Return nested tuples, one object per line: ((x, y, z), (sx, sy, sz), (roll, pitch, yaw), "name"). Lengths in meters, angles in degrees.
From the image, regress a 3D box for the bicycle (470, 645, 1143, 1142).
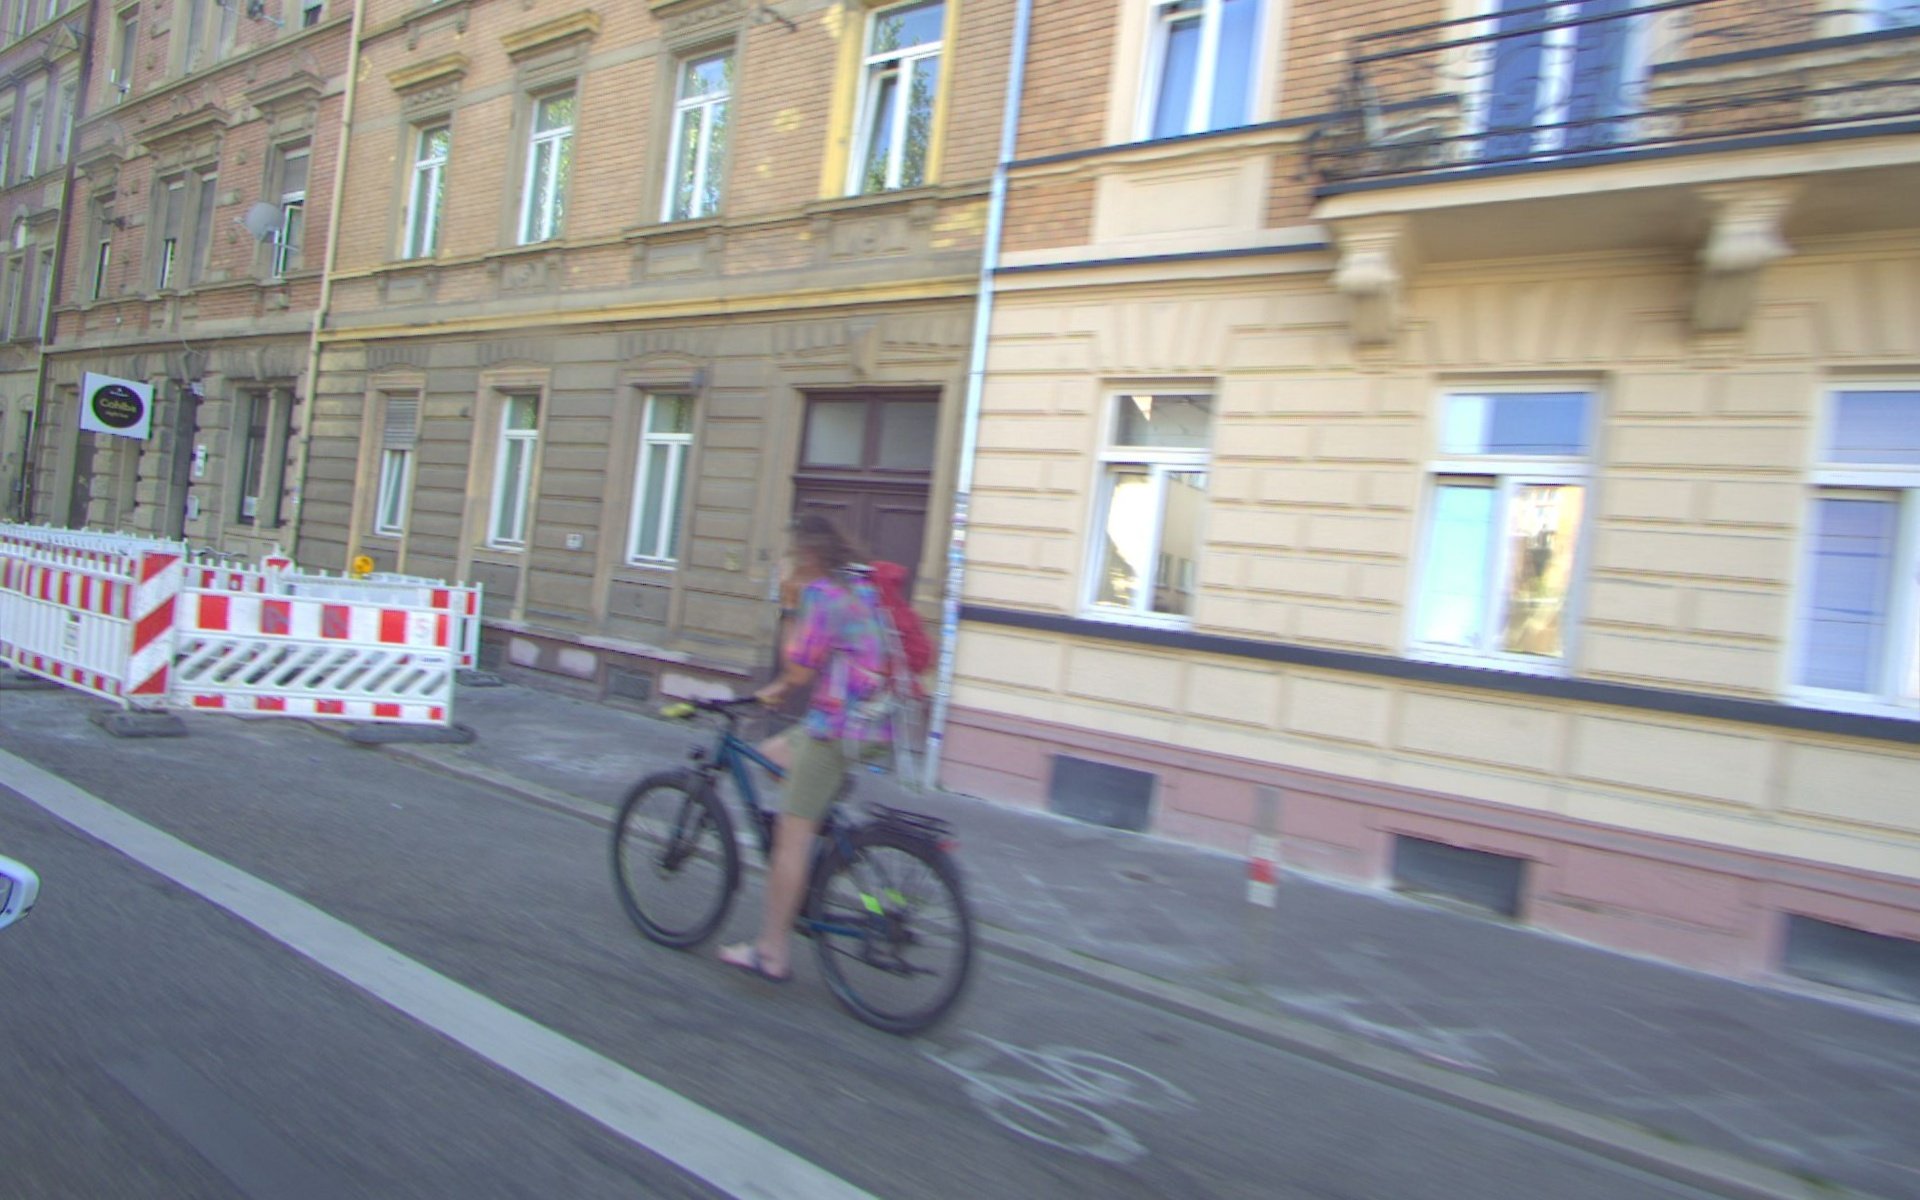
((-0.730, 0.919, 3.914), (2.662, 1.127, 0.682), (7, -2, 32), "bicycle")

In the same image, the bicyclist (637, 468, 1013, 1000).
((-0.506, 0.431, 3.823), (1.026, 1.716, 0.668), (6, -2, 31), "bicyclist")
